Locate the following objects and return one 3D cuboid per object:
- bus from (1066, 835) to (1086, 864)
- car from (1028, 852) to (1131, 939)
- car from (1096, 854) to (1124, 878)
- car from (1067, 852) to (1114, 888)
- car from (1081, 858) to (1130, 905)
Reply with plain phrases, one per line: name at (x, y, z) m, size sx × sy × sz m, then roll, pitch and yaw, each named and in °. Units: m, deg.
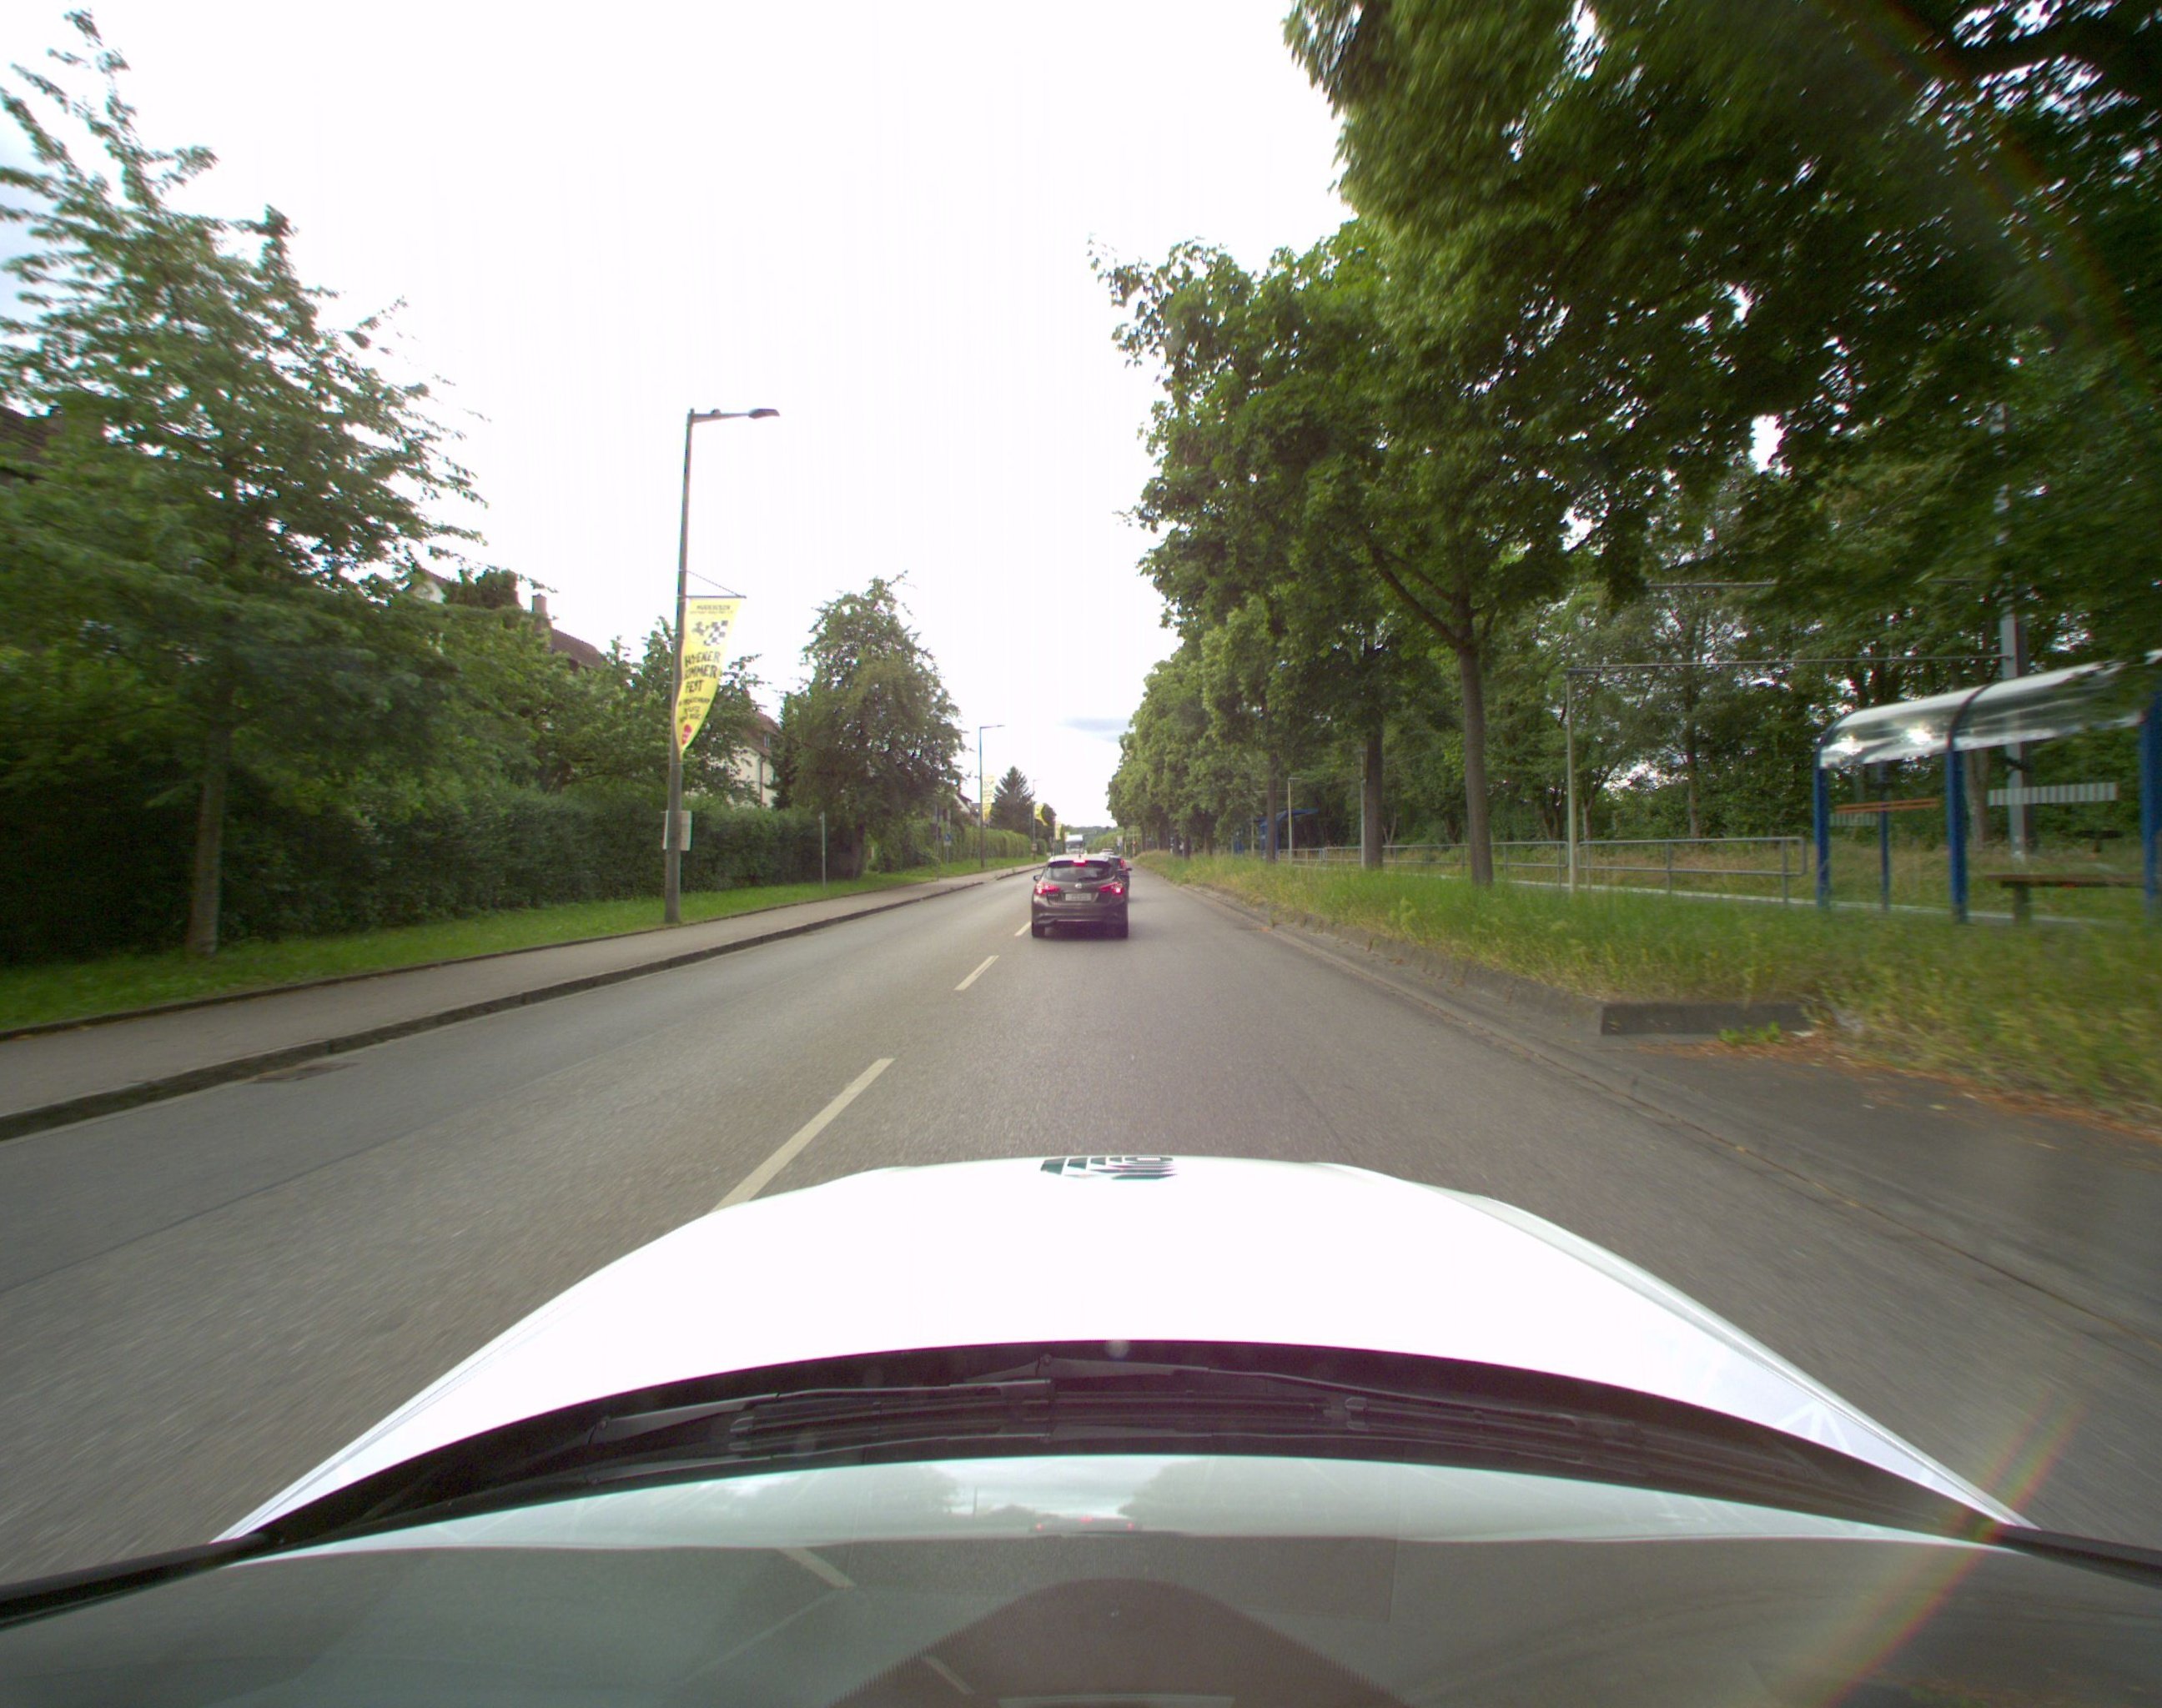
bus at (-0.707, -0.607, 118.575) m, size 2.478 × 4.025 × 10.220 m, roll 0°, pitch 0°, yaw 2°
car at (0.036, 0.740, 16.060) m, size 1.777 × 1.507 × 3.697 m, roll 0°, pitch -1°, yaw 2°
car at (1.802, 0.754, 51.562) m, size 1.685 × 1.441 × 3.542 m, roll 0°, pitch 0°, yaw 1°
car at (0.468, 0.717, 36.785) m, size 1.986 × 1.486 × 4.001 m, roll 1°, pitch -1°, yaw 2°
car at (0.781, 0.843, 26.653) m, size 1.496 × 1.441 × 3.542 m, roll 0°, pitch 0°, yaw 1°
